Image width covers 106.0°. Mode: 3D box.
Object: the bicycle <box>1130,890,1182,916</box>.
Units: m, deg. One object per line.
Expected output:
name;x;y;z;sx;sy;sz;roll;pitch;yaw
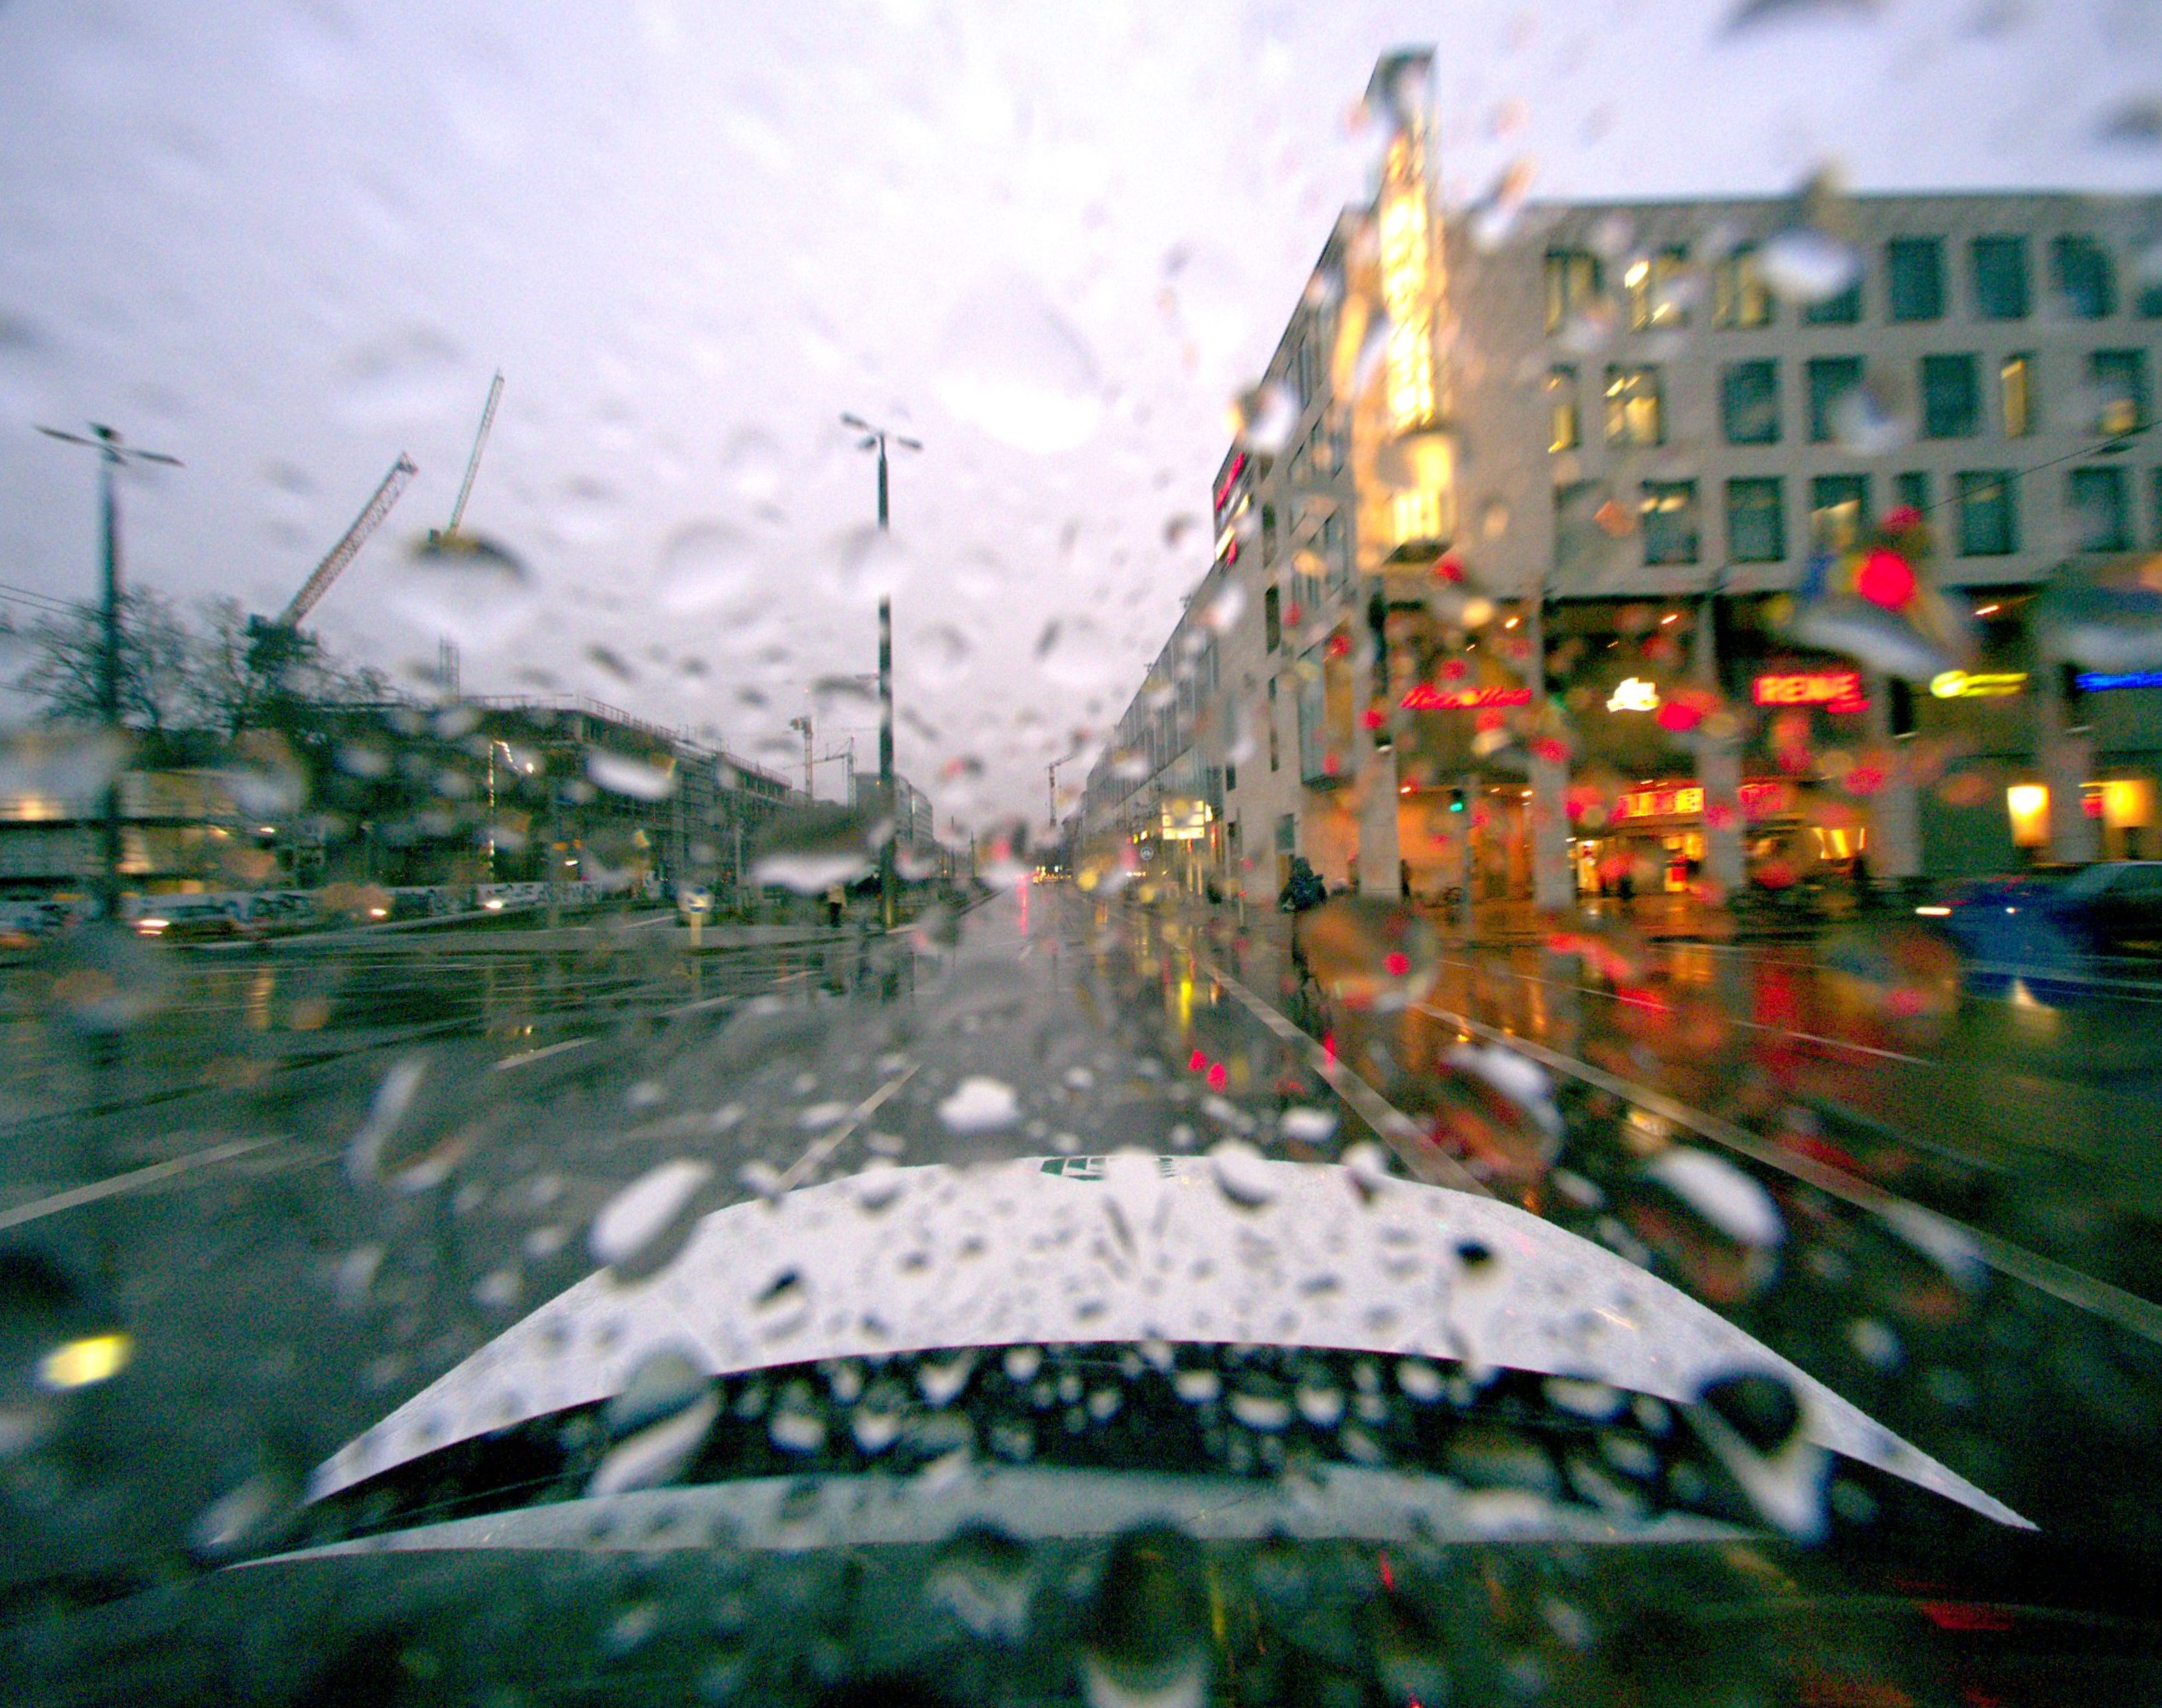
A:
bicycle;3.670;2.388;39.825;2.436;1.154;0.673;-2;-2;-2

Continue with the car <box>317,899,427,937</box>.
car;-37.261;3.349;42.940;1.983;1.791;4.006;0;-2;6

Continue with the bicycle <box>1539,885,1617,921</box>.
bicycle;15.738;1.558;25.854;1.944;1.086;0.931;-2;-1;20

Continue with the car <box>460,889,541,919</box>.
car;-37.163;3.192;52.270;1.983;1.791;4.006;0;-2;6

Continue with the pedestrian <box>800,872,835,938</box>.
pedestrian;-8.240;1.576;25.439;0.776;2.014;0.732;-2;-3;41

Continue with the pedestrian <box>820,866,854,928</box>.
pedestrian;-7.348;1.274;24.514;0.826;1.832;0.778;1;-2;-31

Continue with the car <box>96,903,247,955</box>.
car;-36.804;2.982;33.119;1.864;1.828;3.989;0;-2;-7

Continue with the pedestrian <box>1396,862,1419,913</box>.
pedestrian;11.269;1.149;28.137;0.596;1.745;0.526;0;-2;7

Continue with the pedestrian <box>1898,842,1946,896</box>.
pedestrian;26.943;0.489;26.093;0.891;1.684;0.528;-2;-2;-1

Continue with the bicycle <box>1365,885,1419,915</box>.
bicycle;11.062;1.633;28.996;1.767;1.070;0.523;0;-2;-9

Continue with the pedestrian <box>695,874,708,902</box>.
pedestrian;-27.158;2.410;58.317;0.569;1.968;0.664;2;-2;-6

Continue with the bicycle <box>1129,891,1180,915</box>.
bicycle;3.650;2.424;40.605;2.419;1.099;0.711;-2;-2;-3

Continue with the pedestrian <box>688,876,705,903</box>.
pedestrian;-26.947;2.502;57.109;0.763;1.898;0.762;0;-3;-1

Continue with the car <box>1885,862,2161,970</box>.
car;16.010;0.953;13.191;3.974;1.618;2.000;0;-2;0

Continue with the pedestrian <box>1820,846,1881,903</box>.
pedestrian;23.323;0.625;24.700;1.027;1.684;0.823;0;-2;-1

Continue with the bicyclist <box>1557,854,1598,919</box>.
bicyclist;15.750;1.029;25.864;0.914;2.014;0.912;-2;-2;22

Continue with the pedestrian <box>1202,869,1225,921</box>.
pedestrian;4.444;1.358;27.362;0.635;1.709;0.573;-2;-2;-2

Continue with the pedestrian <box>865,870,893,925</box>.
pedestrian;-6.297;1.333;25.390;0.605;1.686;0.582;-2;-3;41

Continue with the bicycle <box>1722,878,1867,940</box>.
bicycle;17.079;1.307;19.541;2.708;1.359;0.956;-2;-2;-5

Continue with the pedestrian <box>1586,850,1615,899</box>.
pedestrian;18.514;0.730;29.053;0.728;1.718;0.743;-3;-2;27

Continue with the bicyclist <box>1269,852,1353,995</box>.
bicyclist;2.815;0.820;10.055;0.700;1.660;0.964;-1;-1;-1

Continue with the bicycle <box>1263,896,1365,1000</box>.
bicycle;2.828;1.100;10.072;0.706;1.094;1.783;-1;-1;-1

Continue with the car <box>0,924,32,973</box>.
car;-35.122;3.009;24.301;2.076;1.530;4.599;-2;-2;-10

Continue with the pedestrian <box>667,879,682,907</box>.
pedestrian;-27.336;2.618;54.721;0.696;1.881;0.553;0;-2;-2

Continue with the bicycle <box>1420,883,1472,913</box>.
bicycle;12.995;1.562;29.027;1.643;1.070;0.524;0;-2;-5
